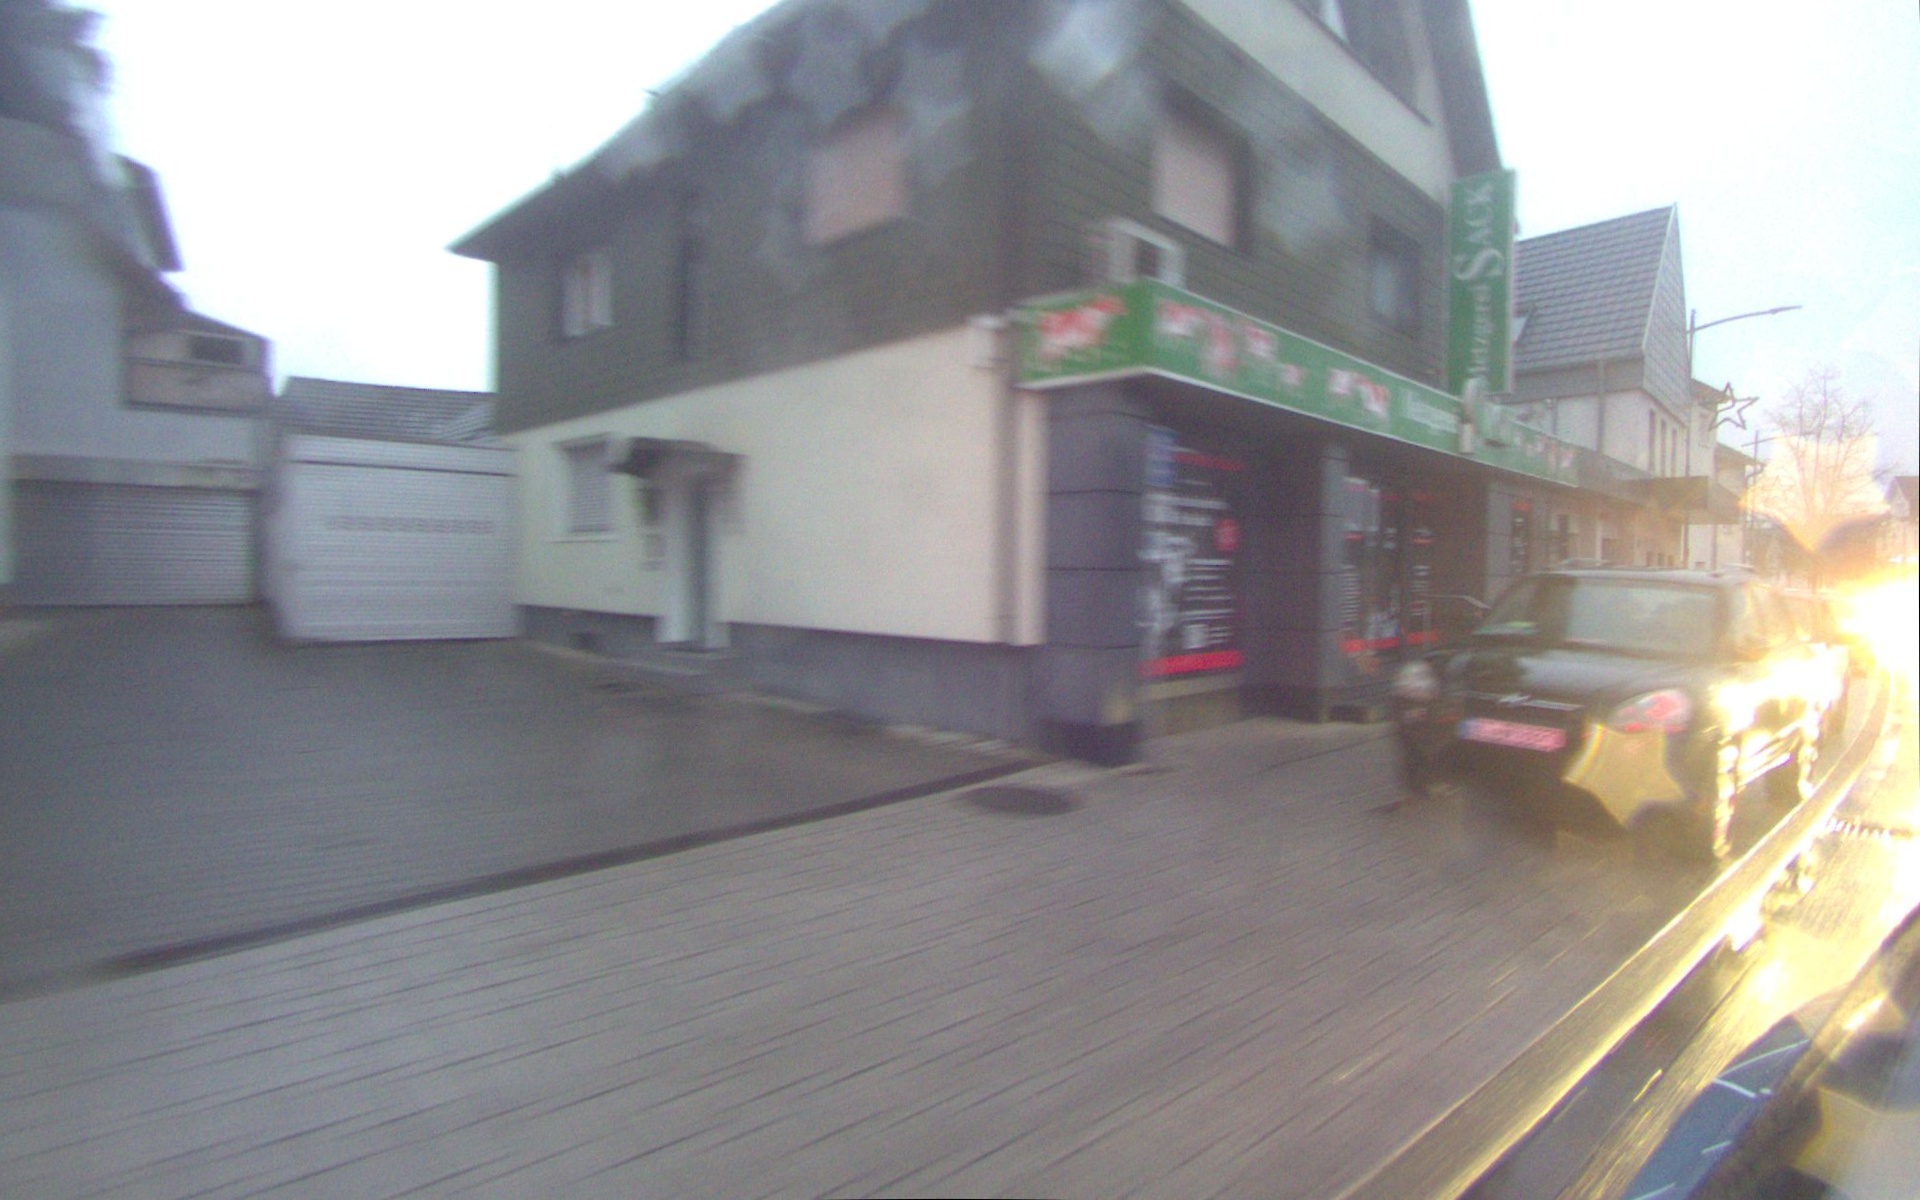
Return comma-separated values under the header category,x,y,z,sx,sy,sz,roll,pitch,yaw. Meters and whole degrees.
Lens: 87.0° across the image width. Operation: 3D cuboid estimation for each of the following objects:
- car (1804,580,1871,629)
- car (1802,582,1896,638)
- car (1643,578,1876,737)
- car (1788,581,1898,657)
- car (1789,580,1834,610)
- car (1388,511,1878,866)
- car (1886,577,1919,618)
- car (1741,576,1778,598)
category,x,y,z,sx,sy,sz,roll,pitch,yaw
car,31.001,0.093,35.837,1.662,1.595,4.432,2,2,40
car,26.744,0.265,30.573,1.953,1.552,4.937,-2,0,40
car,8.870,0.533,11.177,2.683,1.432,1.647,0,4,-45
car,19.788,0.352,22.671,1.652,1.472,4.174,5,4,42
car,48.294,-0.325,57.440,1.804,1.583,4.244,2,2,39
car,4.859,0.392,7.100,3.930,1.803,1.774,0,4,-41
car,40.192,-0.112,42.379,1.899,1.660,4.500,1,1,40
car,68.103,-1.119,86.217,1.902,1.812,4.515,2,2,32
